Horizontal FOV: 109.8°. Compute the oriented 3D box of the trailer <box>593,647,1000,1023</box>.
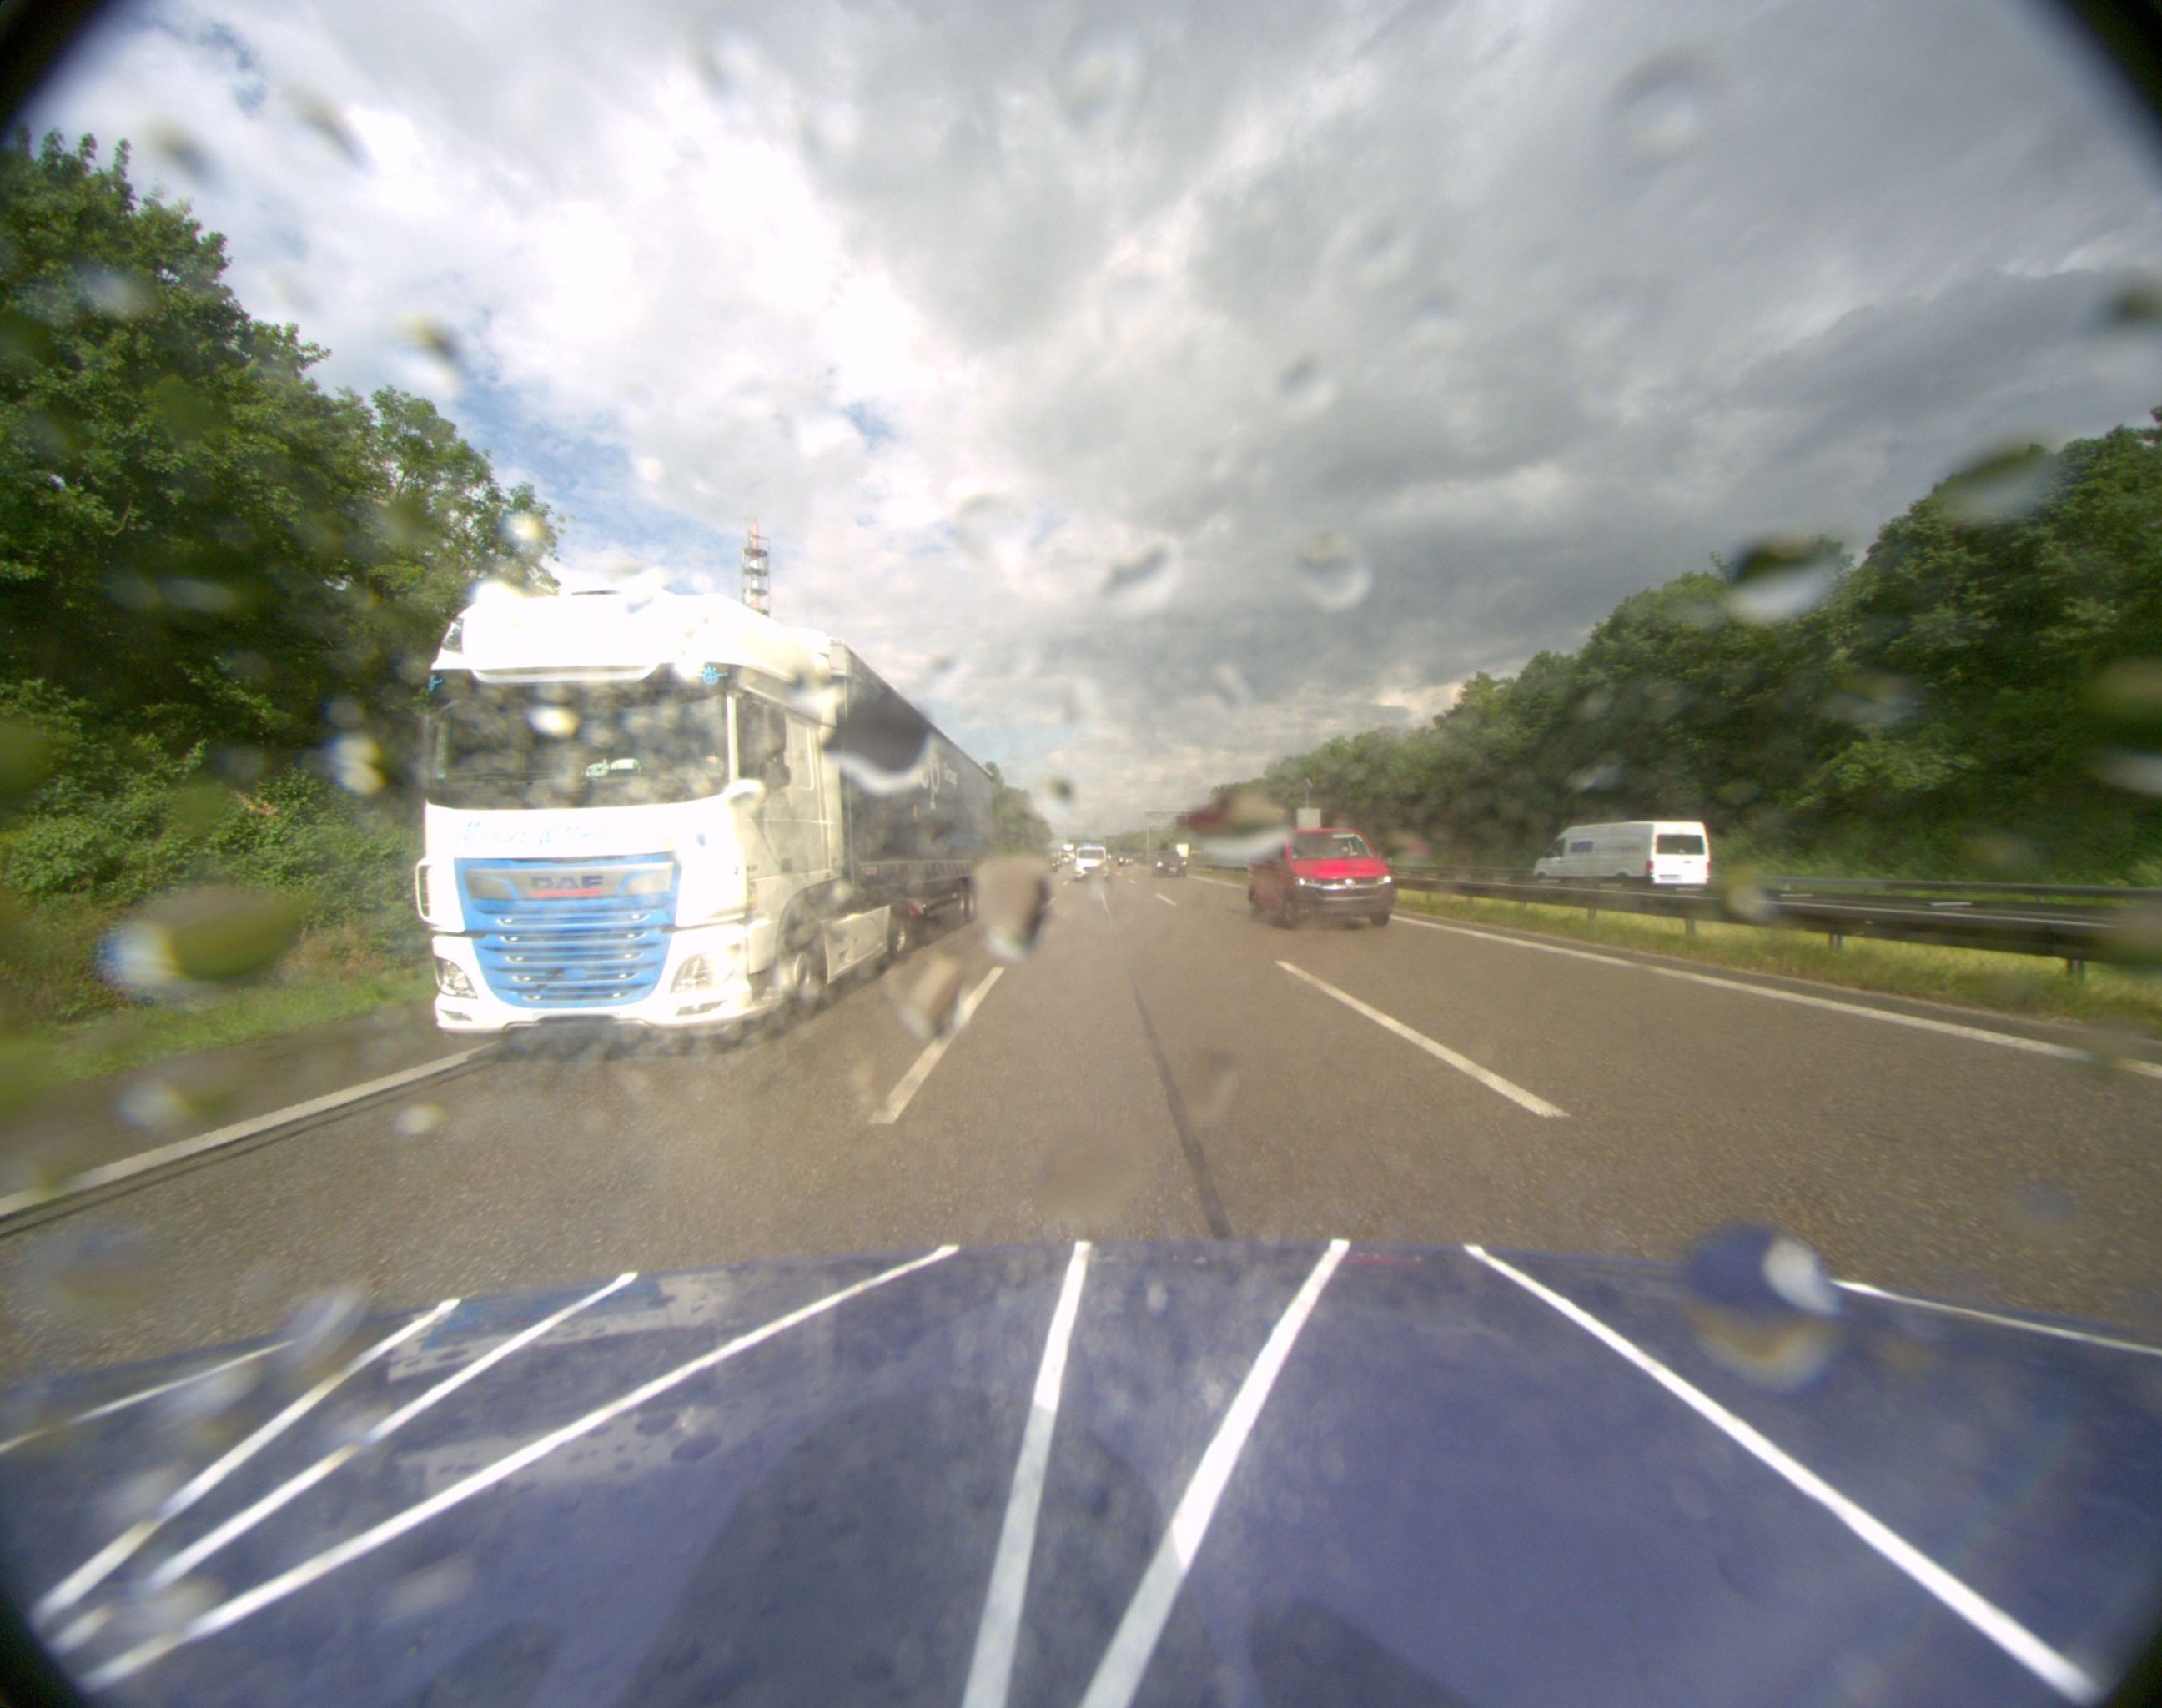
[{"bbox_3d":[-3.806,-0.258,15.233,2.641,3.972,14.063,-2,1,0],"label":"trailer"}]

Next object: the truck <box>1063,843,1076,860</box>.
[{"bbox_3d":[-2.645,-0.628,177.359,3.064,3.827,8.799,0,0,0],"label":"truck"}]

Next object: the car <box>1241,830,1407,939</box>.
[{"bbox_3d":[4.792,0.514,15.821,1.926,1.855,4.838,-2,1,1],"label":"car"}]

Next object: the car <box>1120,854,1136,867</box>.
[{"bbox_3d":[5.984,0.808,96.906,1.798,1.410,4.838,-2,1,1],"label":"car"}]

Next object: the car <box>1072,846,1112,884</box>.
[{"bbox_3d":[0.629,0.566,44.557,2.124,1.988,5.982,-2,1,1],"label":"car"}]

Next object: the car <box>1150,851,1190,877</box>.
[{"bbox_3d":[5.692,0.607,49.059,2.009,1.488,4.838,-2,1,1],"label":"car"}]

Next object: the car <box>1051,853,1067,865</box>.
[{"bbox_3d":[-2.920,0.626,101.672,1.798,1.410,4.838,-2,1,1],"label":"car"}]

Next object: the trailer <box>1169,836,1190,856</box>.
[{"bbox_3d":[22.396,-1.813,174.105,2.870,4.347,14.090,-2,1,0],"label":"trailer"}]

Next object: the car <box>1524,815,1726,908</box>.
[{"bbox_3d":[19.197,0.201,27.446,2.268,2.853,6.930,-2,1,0],"label":"car"}]

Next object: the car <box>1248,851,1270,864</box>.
[{"bbox_3d":[22.715,0.433,97.157,1.736,1.653,4.235,-2,1,0],"label":"car"}]

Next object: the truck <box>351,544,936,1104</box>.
[{"bbox_3d":[-3.860,-0.238,9.160,2.613,3.972,7.289,-2,1,0],"label":"truck"}]

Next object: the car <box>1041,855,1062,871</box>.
[{"bbox_3d":[-2.862,0.858,74.572,1.798,1.410,4.838,-2,1,1],"label":"car"}]

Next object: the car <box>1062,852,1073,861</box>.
[{"bbox_3d":[-2.351,0.457,135.663,1.798,1.410,4.838,-2,1,1],"label":"car"}]
